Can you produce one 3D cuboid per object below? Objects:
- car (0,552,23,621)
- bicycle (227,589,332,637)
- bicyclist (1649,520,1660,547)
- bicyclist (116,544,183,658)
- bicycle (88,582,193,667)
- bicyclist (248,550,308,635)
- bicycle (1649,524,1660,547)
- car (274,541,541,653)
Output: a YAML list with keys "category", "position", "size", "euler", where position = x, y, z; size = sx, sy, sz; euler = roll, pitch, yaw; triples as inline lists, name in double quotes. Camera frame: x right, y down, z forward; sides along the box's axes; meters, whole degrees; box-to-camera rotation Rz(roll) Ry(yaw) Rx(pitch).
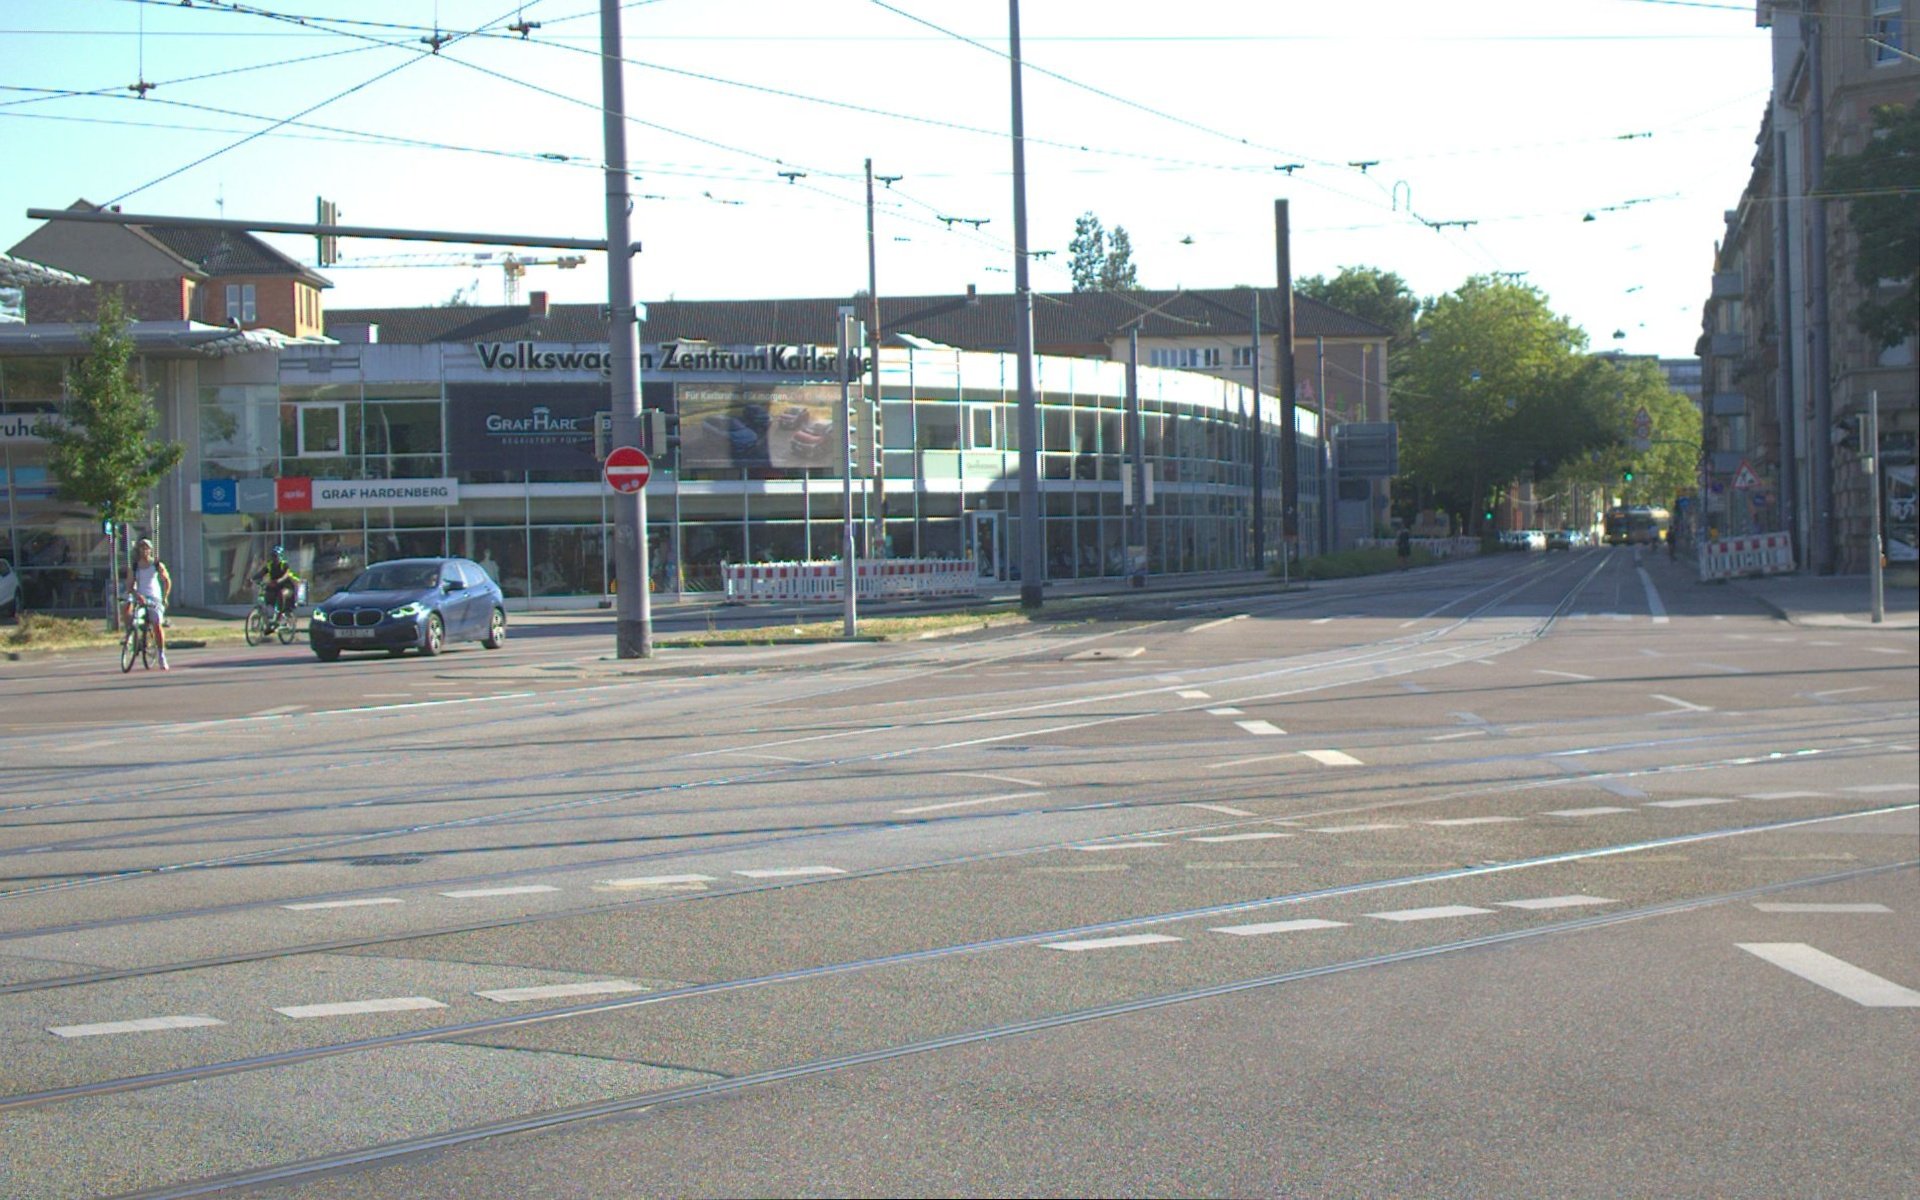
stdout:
- category: "car"
  position: [-25.280, -0.346, 87.659]
  size: [1.993, 1.744, 4.001]
  euler: [0, 0, -5]
- category: "bicycle"
  position: [-12.669, 0.236, 64.059]
  size: [0.639, 0.867, 2.232]
  euler: [0, 0, 28]
- category: "bicyclist"
  position: [28.757, -2.768, 142.358]
  size: [0.408, 1.112, 0.399]
  euler: [0, 0, 9]
- category: "bicyclist"
  position: [-11.550, 0.015, 49.007]
  size: [0.598, 1.610, 0.822]
  euler: [0, 0, 16]
- category: "bicycle"
  position: [-11.616, 0.339, 48.761]
  size: [0.613, 1.185, 1.868]
  euler: [0, 0, 16]
- category: "bicyclist"
  position: [-12.691, -0.134, 63.984]
  size: [0.655, 1.567, 0.921]
  euler: [0, 0, 27]
- category: "bicycle"
  position: [28.757, -2.674, 142.318]
  size: [0.410, 0.938, 1.844]
  euler: [0, 0, 11]
- category: "car"
  position: [-8.114, -0.047, 50.844]
  size: [1.996, 1.579, 3.995]
  euler: [0, 0, 25]
